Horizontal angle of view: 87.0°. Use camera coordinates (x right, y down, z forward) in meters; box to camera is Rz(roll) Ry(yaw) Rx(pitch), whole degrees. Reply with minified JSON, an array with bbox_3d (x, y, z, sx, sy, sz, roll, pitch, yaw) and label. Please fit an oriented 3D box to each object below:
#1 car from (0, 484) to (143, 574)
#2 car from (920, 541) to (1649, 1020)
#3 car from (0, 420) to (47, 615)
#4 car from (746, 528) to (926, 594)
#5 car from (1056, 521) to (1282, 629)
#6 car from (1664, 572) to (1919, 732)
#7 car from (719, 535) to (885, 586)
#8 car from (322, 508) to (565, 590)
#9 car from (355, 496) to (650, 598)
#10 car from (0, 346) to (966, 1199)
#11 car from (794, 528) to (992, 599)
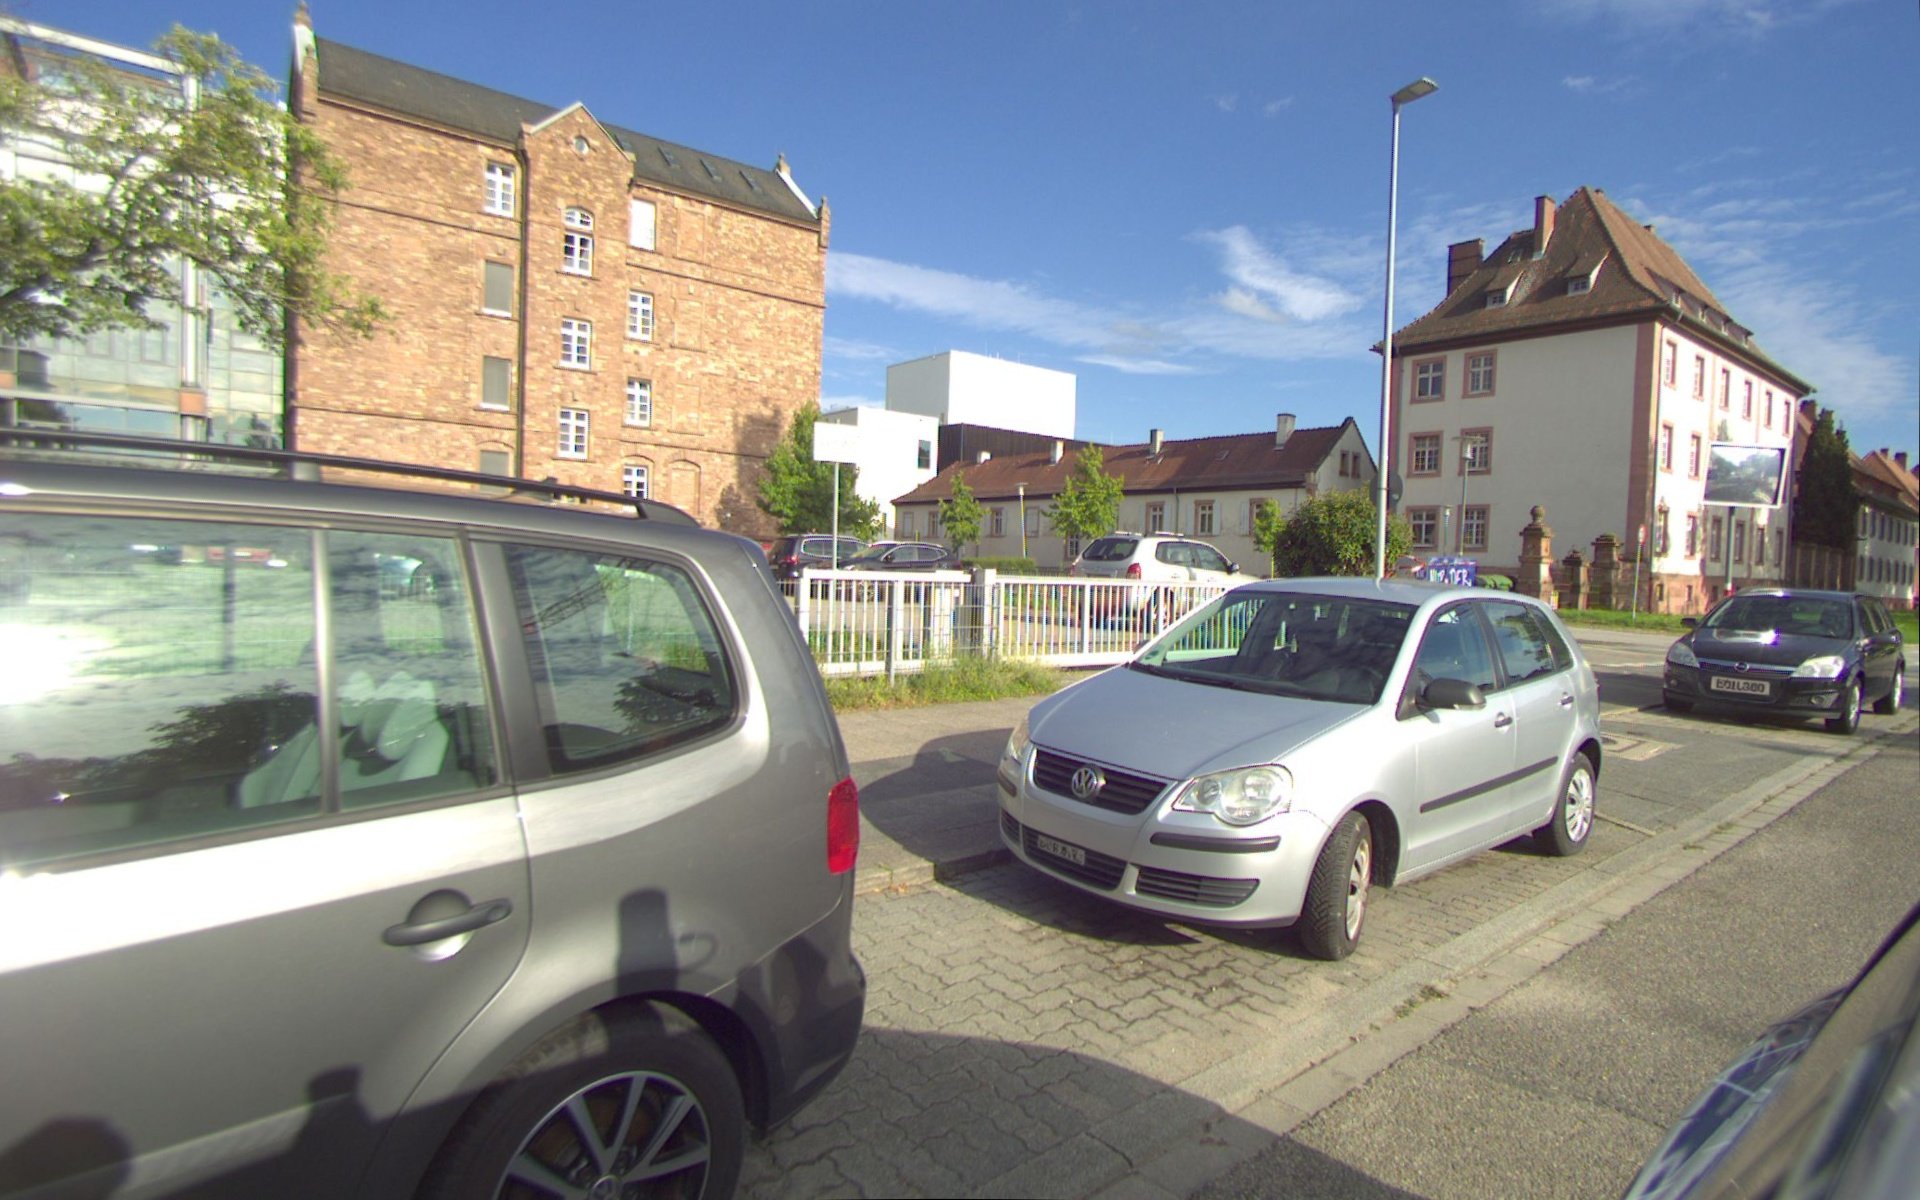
[{"bbox_3d":[-17.108,-1.323,19.461,1.835,1.522,4.092,0,2,-34],"label":"car"},{"bbox_3d":[1.875,0.543,5.164,3.929,1.504,1.662,0,4,-40],"label":"car"},{"bbox_3d":[-9.266,-0.725,8.536,1.835,1.679,3.801,0,2,-35],"label":"car"},{"bbox_3d":[-3.561,-1.124,29.419,4.727,1.740,2.183,0,3,-37],"label":"car"},{"bbox_3d":[3.855,-0.465,18.411,4.018,1.740,1.889,0,3,-40],"label":"car"},{"bbox_3d":[9.944,0.493,11.943,3.929,1.504,1.662,0,4,-40],"label":"car"},{"bbox_3d":[-4.988,-1.244,32.241,4.727,1.464,2.183,0,3,-37],"label":"car"},{"bbox_3d":[-10.278,-0.993,20.257,4.018,1.469,1.889,0,3,-40],"label":"car"},{"bbox_3d":[-7.379,-0.820,16.507,4.018,1.469,1.889,0,3,-40],"label":"car"},{"bbox_3d":[-2.116,0.454,1.566,4.131,1.668,1.677,0,5,-42],"label":"car"},{"bbox_3d":[-1.754,-0.965,27.282,4.896,1.740,2.183,0,3,-37],"label":"car"}]
